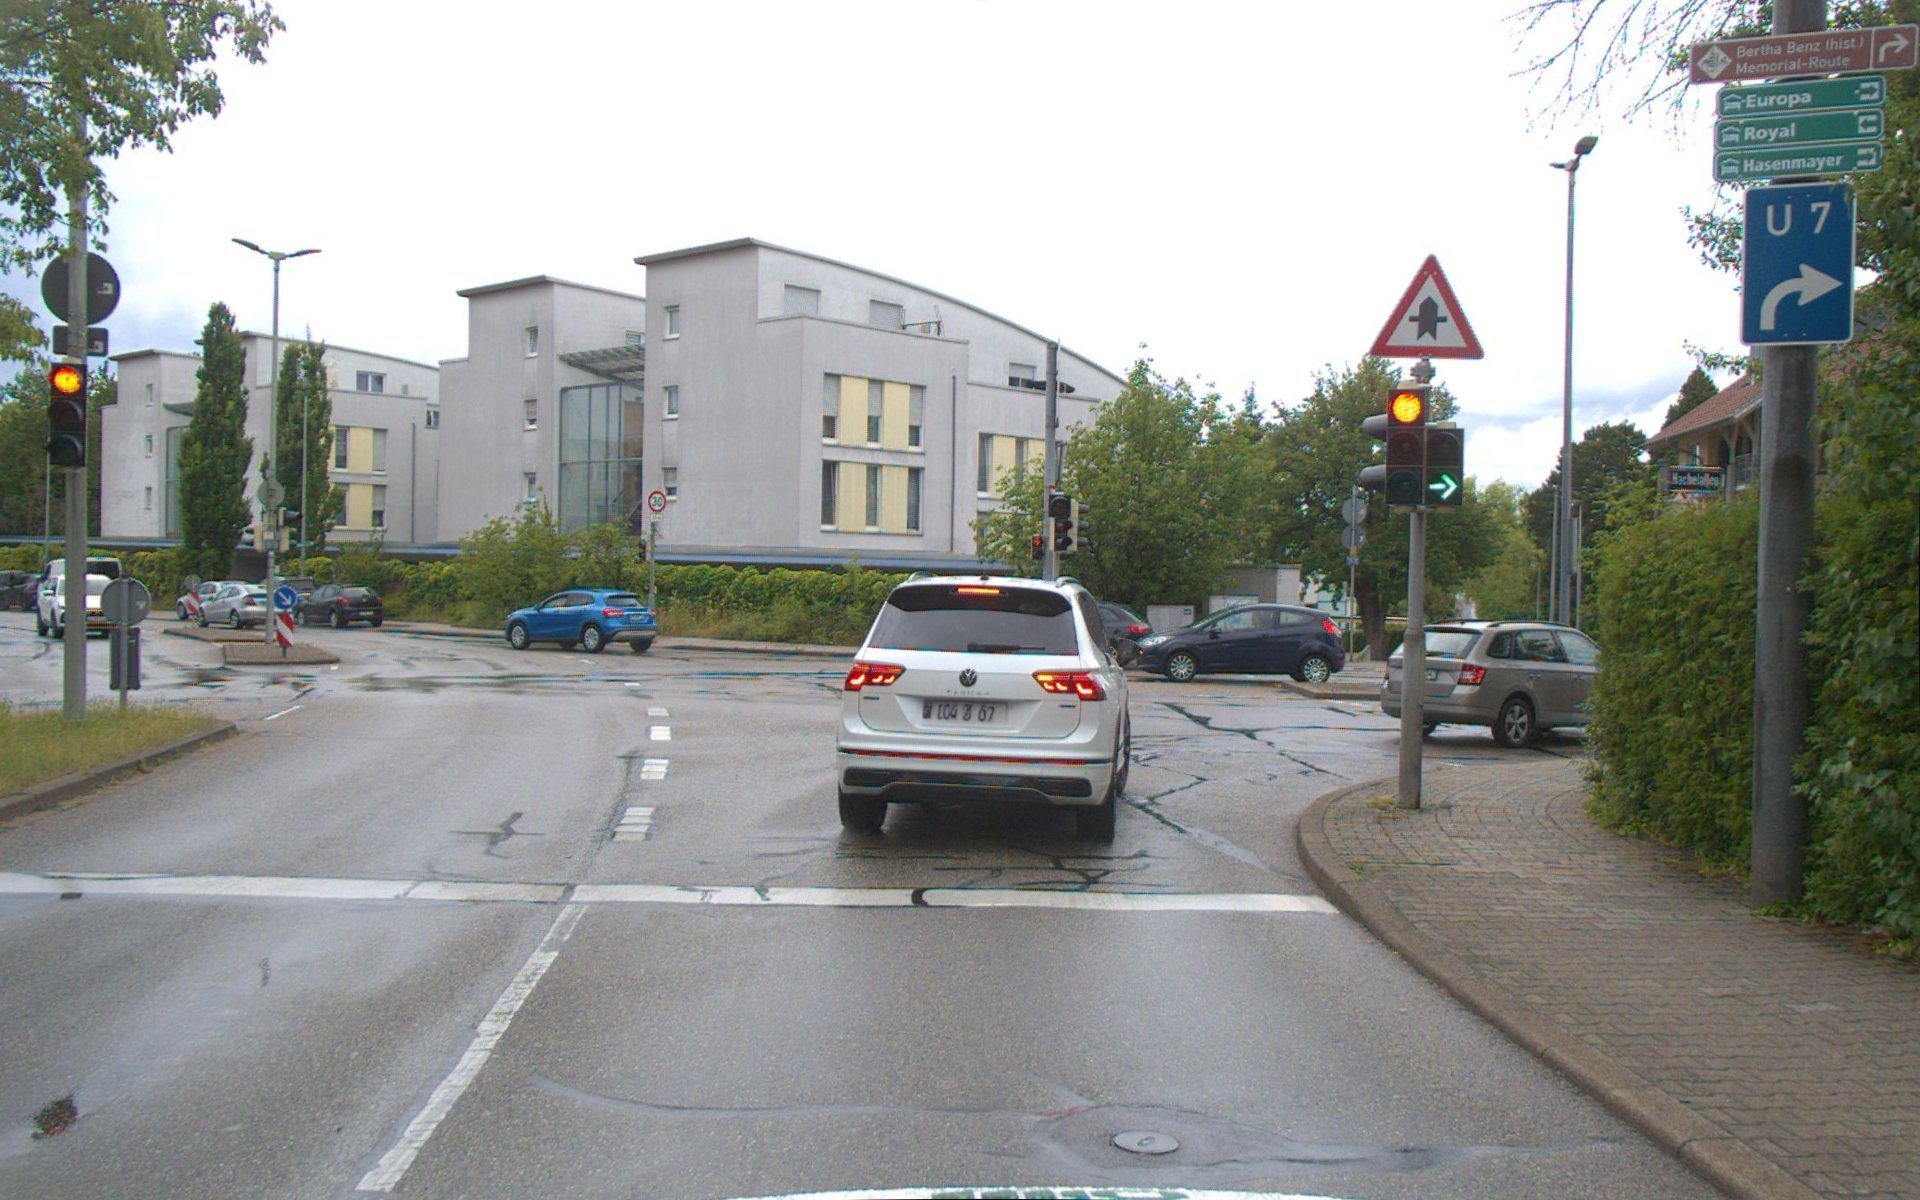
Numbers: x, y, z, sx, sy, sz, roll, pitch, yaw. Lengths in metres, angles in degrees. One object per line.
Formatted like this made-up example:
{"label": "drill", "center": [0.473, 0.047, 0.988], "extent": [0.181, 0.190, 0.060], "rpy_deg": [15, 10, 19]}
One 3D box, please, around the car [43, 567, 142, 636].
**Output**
{"label": "car", "center": [-23.189, 0.020, 44.151], "extent": [1.975, 1.668, 3.955], "rpy_deg": [1, 1, -33]}

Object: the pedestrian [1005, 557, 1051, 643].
{"label": "pedestrian", "center": [1.632, -0.014, 39.657], "extent": [0.785, 2.048, 0.847], "rpy_deg": [1, 1, 33]}

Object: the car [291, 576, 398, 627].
{"label": "car", "center": [-21.069, 0.016, 56.577], "extent": [3.933, 1.582, 1.986], "rpy_deg": [2, 2, 44]}

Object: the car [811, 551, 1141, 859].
{"label": "car", "center": [0.314, 0.620, 11.850], "extent": [1.880, 1.752, 4.268], "rpy_deg": [1, 0, 7]}

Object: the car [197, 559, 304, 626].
{"label": "car", "center": [-22.608, -0.254, 52.638], "extent": [1.983, 1.788, 3.942], "rpy_deg": [0, 4, -41]}

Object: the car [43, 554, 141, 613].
{"label": "car", "center": [-38.636, -0.693, 73.571], "extent": [2.580, 2.456, 5.172], "rpy_deg": [0, -1, -43]}

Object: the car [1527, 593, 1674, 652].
{"label": "car", "center": [29.772, 1.028, 77.088], "extent": [5.874, 2.238, 2.855], "rpy_deg": [4, 2, 11]}

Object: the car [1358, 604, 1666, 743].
{"label": "car", "center": [7.034, 0.874, 20.949], "extent": [3.957, 1.536, 1.748], "rpy_deg": [1, 1, -37]}

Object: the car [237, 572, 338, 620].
{"label": "car", "center": [-24.189, -0.167, 59.484], "extent": [3.933, 1.582, 1.986], "rpy_deg": [2, 2, 44]}

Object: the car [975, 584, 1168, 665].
{"label": "car", "center": [2.441, 0.501, 35.797], "extent": [3.902, 1.578, 2.002], "rpy_deg": [1, 3, 12]}

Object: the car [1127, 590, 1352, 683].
{"label": "car", "center": [5.175, 0.652, 31.029], "extent": [3.904, 1.527, 1.926], "rpy_deg": [2, 0, 3]}

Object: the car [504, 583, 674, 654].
{"label": "car", "center": [-9.235, 0.424, 41.131], "extent": [3.916, 1.582, 1.995], "rpy_deg": [1, 2, 33]}
